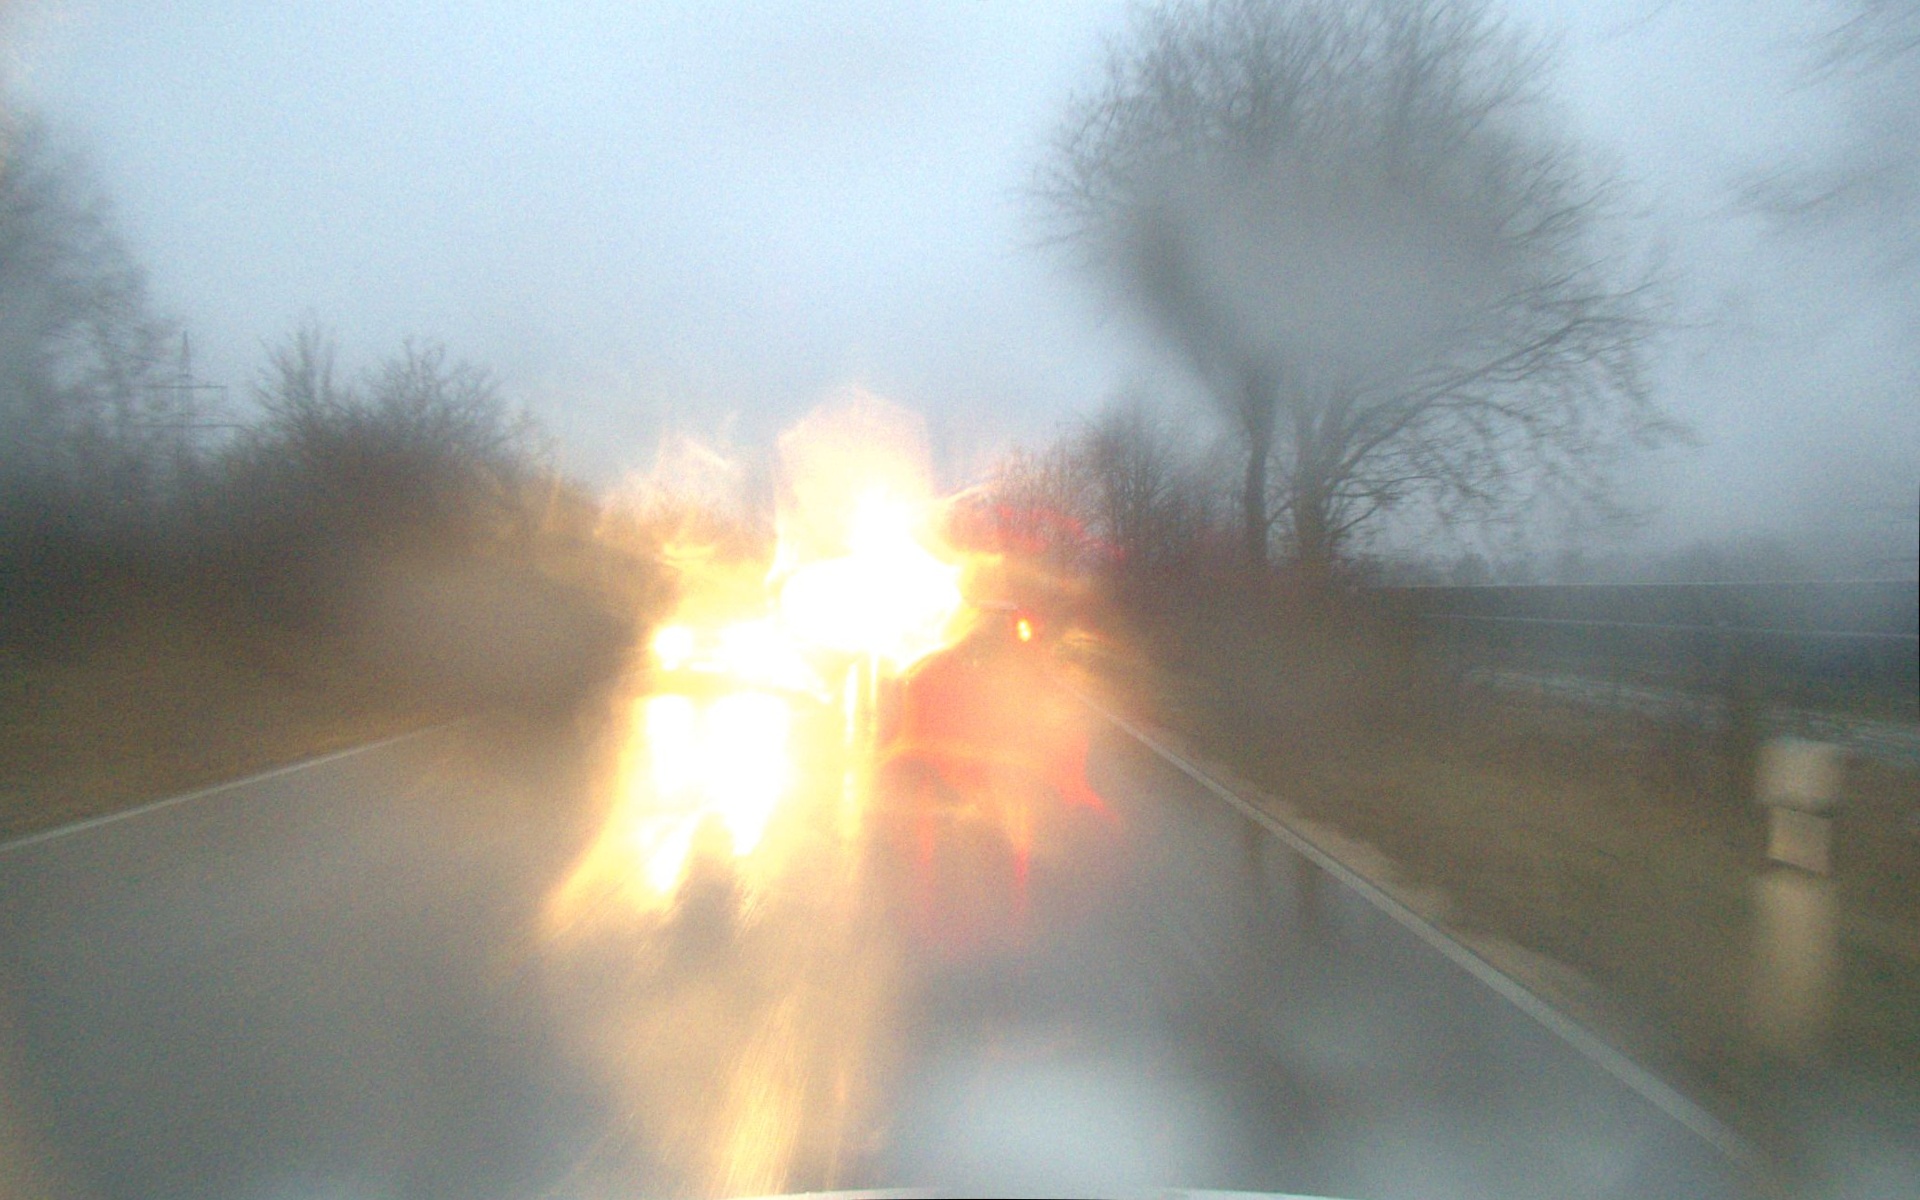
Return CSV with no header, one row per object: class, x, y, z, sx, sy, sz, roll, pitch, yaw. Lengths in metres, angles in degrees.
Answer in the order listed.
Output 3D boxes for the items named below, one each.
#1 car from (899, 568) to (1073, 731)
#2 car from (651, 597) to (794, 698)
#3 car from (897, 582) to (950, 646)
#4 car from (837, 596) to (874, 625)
car,0.317,0.562,20.883,1.952,1.816,4.000,1,0,0
car,-3.720,0.702,26.428,1.780,1.466,3.455,1,0,0
car,-1.124,0.417,52.417,1.542,1.907,3.709,1,0,0
car,-5.493,0.548,87.361,1.715,1.500,3.890,0,0,-1
